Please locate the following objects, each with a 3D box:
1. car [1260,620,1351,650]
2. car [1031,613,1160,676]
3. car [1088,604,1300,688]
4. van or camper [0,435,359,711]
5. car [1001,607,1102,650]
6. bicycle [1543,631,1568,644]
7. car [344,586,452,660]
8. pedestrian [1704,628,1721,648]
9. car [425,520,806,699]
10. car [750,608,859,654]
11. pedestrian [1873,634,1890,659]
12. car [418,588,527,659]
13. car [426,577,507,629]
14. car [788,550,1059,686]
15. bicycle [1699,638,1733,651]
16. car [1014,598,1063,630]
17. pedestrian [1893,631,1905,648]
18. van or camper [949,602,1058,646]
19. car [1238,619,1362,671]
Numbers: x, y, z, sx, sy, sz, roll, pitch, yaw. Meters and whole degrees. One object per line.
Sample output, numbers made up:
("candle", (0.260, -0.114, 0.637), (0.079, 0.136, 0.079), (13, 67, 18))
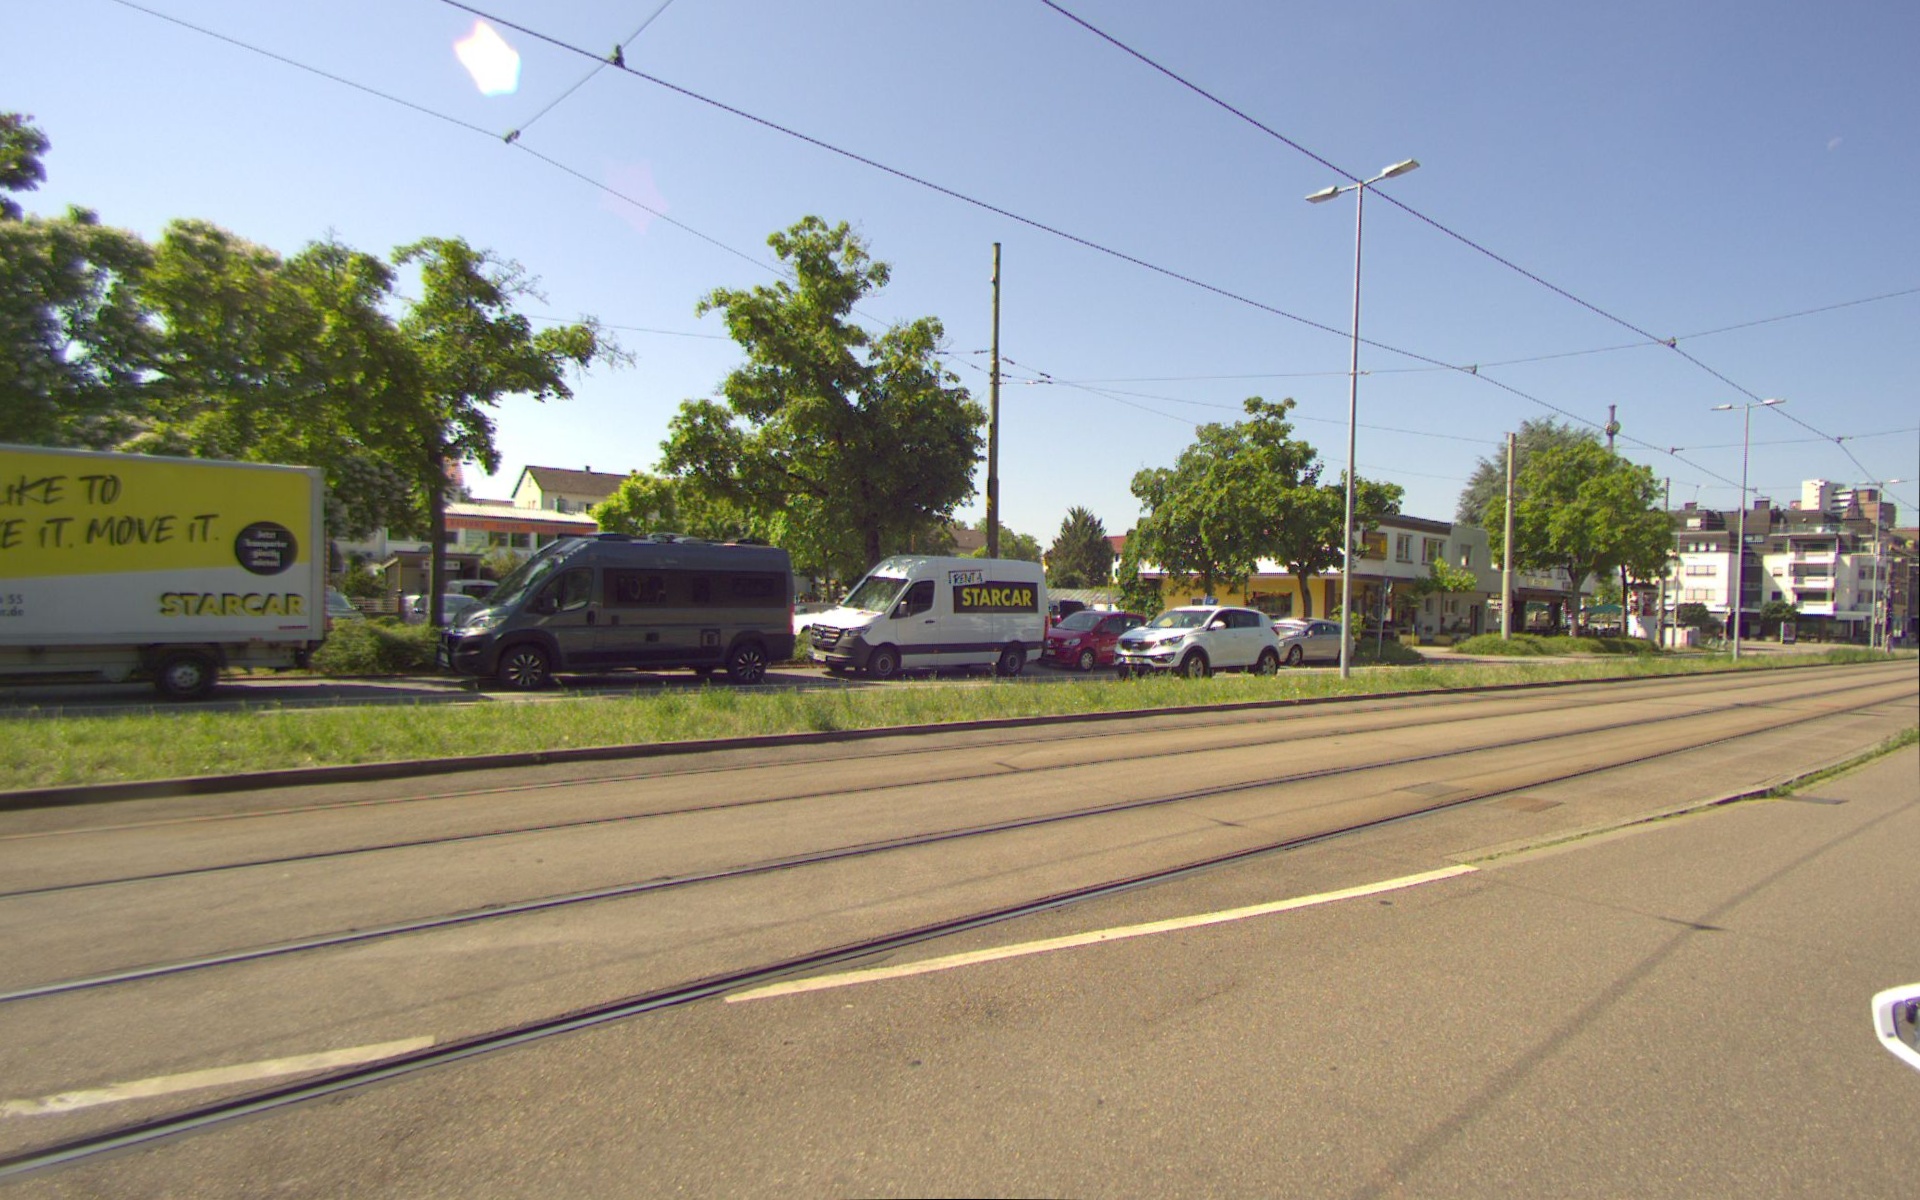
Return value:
("car", (17.444, 1.763, 50.831), (1.683, 1.362, 4.114), (2, -1, -39))
("car", (3.582, 1.150, 26.166), (3.650, 1.510, 1.280), (2, -1, -42))
("car", (5.088, 0.954, 21.555), (4.619, 1.618, 2.027), (2, -2, -39))
("van or camper", (-11.840, -0.352, 12.985), (6.714, 3.284, 2.178), (2, 2, -39))
("car", (3.607, 1.106, 40.023), (1.651, 1.583, 3.951), (2, -1, -42))
("bicycle", (40.941, 2.590, 69.034), (2.371, 0.900, 0.776), (2, -1, -40))
("car", (-14.172, 0.552, 25.232), (1.650, 1.716, 3.953), (2, -1, -40))
("pedestrian", (57.559, 2.923, 76.817), (0.799, 1.507, 0.566), (1, 0, 4))
("car", (-5.973, 0.168, 17.997), (6.030, 2.704, 2.177), (2, 2, -40))
("car", (-5.157, 1.003, 33.095), (1.648, 1.389, 3.950), (2, -1, -42))
("pedestrian", (64.194, 3.231, 69.981), (0.817, 1.762, 0.927), (1, -1, 42))
("car", (-12.897, 0.588, 26.478), (1.650, 1.716, 3.953), (2, -1, -40))
("car", (-20.157, 0.115, 40.945), (1.897, 2.030, 3.949), (2, -1, -43))
("car", (-0.686, 0.385, 22.552), (5.930, 2.666, 2.177), (2, 2, -40))
("bicycle", (57.381, 3.379, 76.250), (2.133, 0.934, 0.553), (1, -1, 4))
("car", (5.867, 1.073, 74.942), (3.385, 2.306, 1.472), (2, -1, -30))
("pedestrian", (110.366, 4.624, 118.067), (0.927, 2.040, 0.984), (1, 0, 45))
("van or camper", (1.598, 0.886, 38.115), (1.863, 1.583, 3.949), (2, -1, -43))
("car", (11.122, 1.448, 32.713), (4.578, 1.510, 1.591), (2, 1, -39))
